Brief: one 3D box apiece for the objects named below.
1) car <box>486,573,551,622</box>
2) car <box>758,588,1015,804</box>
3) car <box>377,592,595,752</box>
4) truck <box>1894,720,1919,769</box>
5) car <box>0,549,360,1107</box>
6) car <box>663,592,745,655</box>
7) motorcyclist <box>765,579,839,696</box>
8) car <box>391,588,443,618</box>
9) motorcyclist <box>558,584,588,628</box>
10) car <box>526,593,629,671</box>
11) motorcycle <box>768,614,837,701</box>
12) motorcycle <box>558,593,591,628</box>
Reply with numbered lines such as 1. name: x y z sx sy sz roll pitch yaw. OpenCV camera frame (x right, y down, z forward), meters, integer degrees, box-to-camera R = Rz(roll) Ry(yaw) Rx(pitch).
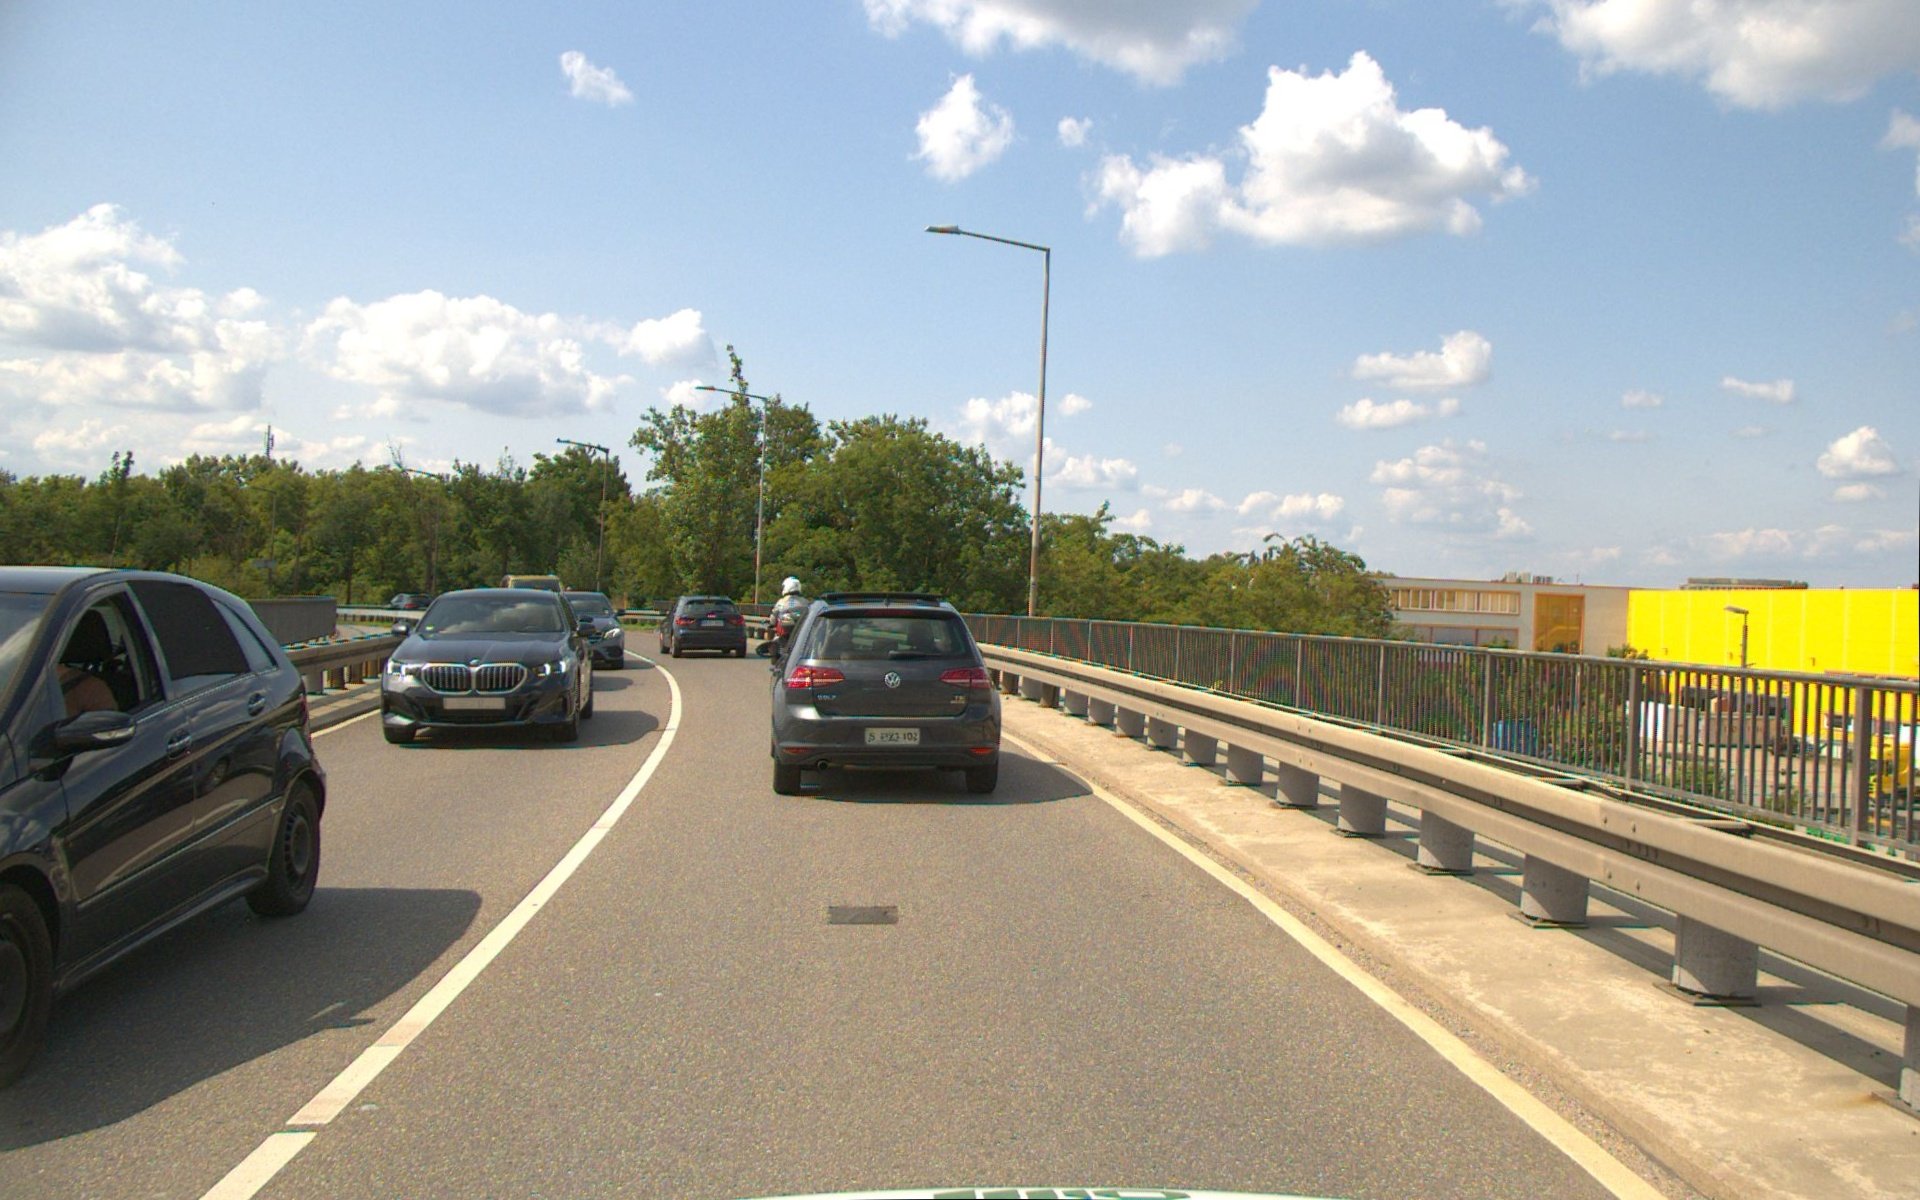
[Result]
1. car: -13.547 -0.076 50.764 1.846 1.426 3.870 -1 0 -15
2. car: -0.736 0.678 13.559 1.612 1.504 3.863 1 0 -10
3. car: -4.886 0.662 17.525 1.843 1.467 3.876 -1 0 -11
4. truck: 69.379 10.238 114.945 7.494 3.244 2.687 4 -2 -4
5. car: -3.724 0.666 6.179 1.650 1.624 4.279 -1 0 -4
6. car: -6.081 0.563 39.023 1.653 1.412 3.726 0 -1 -13
7. motorcyclist: -2.305 0.528 24.044 0.949 1.648 1.122 1 0 -11
8. car: -28.764 0.148 87.564 1.796 1.513 3.957 -1 1 -31
9. motorcyclist: -14.578 0.206 62.270 0.952 1.624 1.118 1 0 -21
10. car: -7.698 0.598 33.044 1.846 1.426 3.870 -1 0 -15
11. motorcycle: -2.311 0.809 24.024 0.775 1.151 2.393 1 0 -11
12. motorcycle: -14.481 0.383 62.094 0.875 1.269 2.384 1 0 -21
